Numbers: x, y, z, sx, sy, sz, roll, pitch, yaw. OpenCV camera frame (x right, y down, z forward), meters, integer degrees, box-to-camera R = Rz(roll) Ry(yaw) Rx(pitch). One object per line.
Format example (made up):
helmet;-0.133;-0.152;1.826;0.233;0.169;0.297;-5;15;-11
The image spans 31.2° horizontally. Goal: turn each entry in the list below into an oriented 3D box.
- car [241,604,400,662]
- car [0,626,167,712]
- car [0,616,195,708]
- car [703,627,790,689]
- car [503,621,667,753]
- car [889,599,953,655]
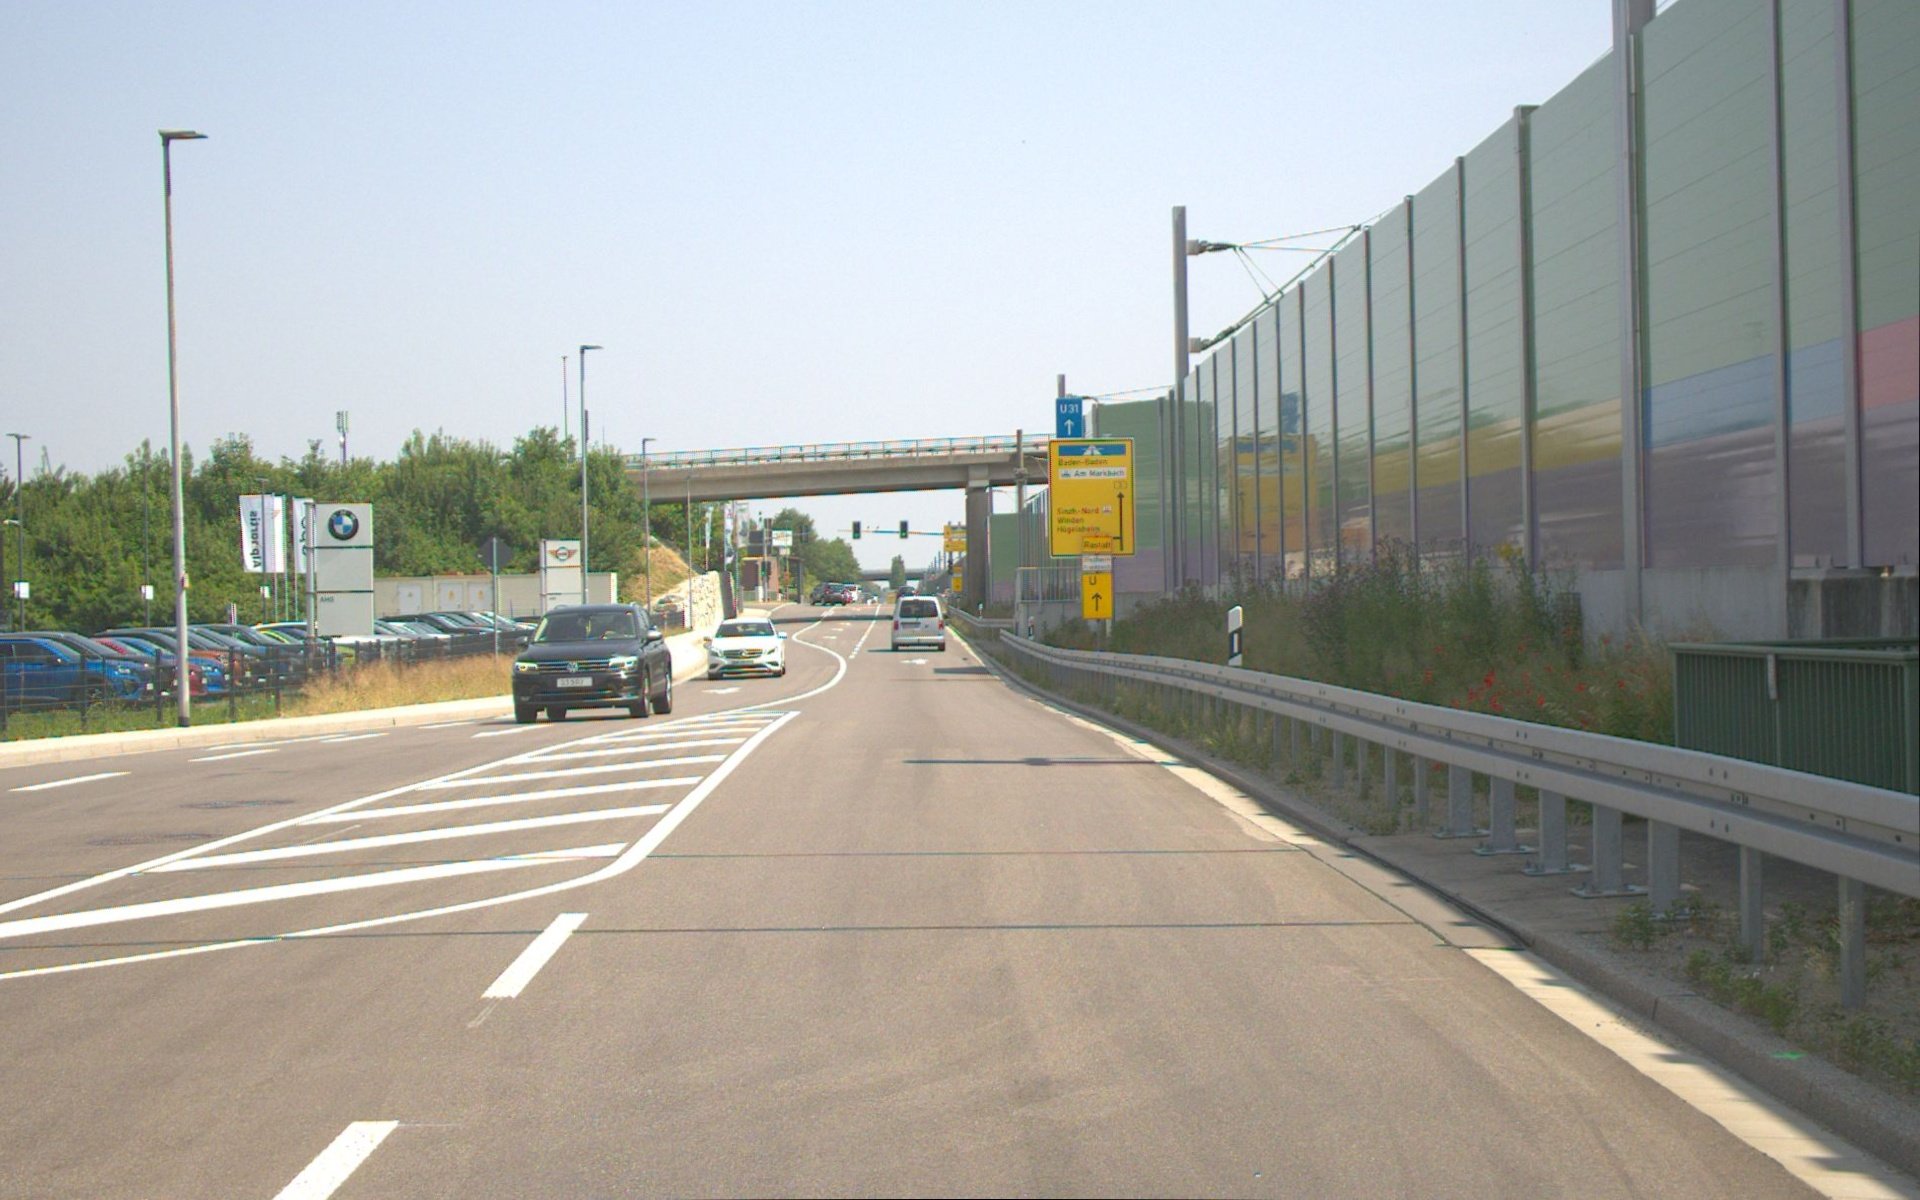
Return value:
car;-18.154;0.929;97.740;4.164;1.461;1.815;-2;1;0
car;-17.103;1.300;64.578;3.986;1.475;1.911;-2;1;-2
car;-17.132;1.210;67.080;3.986;1.630;1.815;-2;1;-2
car;-5.150;1.383;83.355;1.781;1.411;4.050;-2;0;1
car;-5.280;1.195;48.860;1.877;1.667;4.291;-1;1;-1
car;-1.266;0.880;112.999;1.993;1.751;4.000;-1;0;1
